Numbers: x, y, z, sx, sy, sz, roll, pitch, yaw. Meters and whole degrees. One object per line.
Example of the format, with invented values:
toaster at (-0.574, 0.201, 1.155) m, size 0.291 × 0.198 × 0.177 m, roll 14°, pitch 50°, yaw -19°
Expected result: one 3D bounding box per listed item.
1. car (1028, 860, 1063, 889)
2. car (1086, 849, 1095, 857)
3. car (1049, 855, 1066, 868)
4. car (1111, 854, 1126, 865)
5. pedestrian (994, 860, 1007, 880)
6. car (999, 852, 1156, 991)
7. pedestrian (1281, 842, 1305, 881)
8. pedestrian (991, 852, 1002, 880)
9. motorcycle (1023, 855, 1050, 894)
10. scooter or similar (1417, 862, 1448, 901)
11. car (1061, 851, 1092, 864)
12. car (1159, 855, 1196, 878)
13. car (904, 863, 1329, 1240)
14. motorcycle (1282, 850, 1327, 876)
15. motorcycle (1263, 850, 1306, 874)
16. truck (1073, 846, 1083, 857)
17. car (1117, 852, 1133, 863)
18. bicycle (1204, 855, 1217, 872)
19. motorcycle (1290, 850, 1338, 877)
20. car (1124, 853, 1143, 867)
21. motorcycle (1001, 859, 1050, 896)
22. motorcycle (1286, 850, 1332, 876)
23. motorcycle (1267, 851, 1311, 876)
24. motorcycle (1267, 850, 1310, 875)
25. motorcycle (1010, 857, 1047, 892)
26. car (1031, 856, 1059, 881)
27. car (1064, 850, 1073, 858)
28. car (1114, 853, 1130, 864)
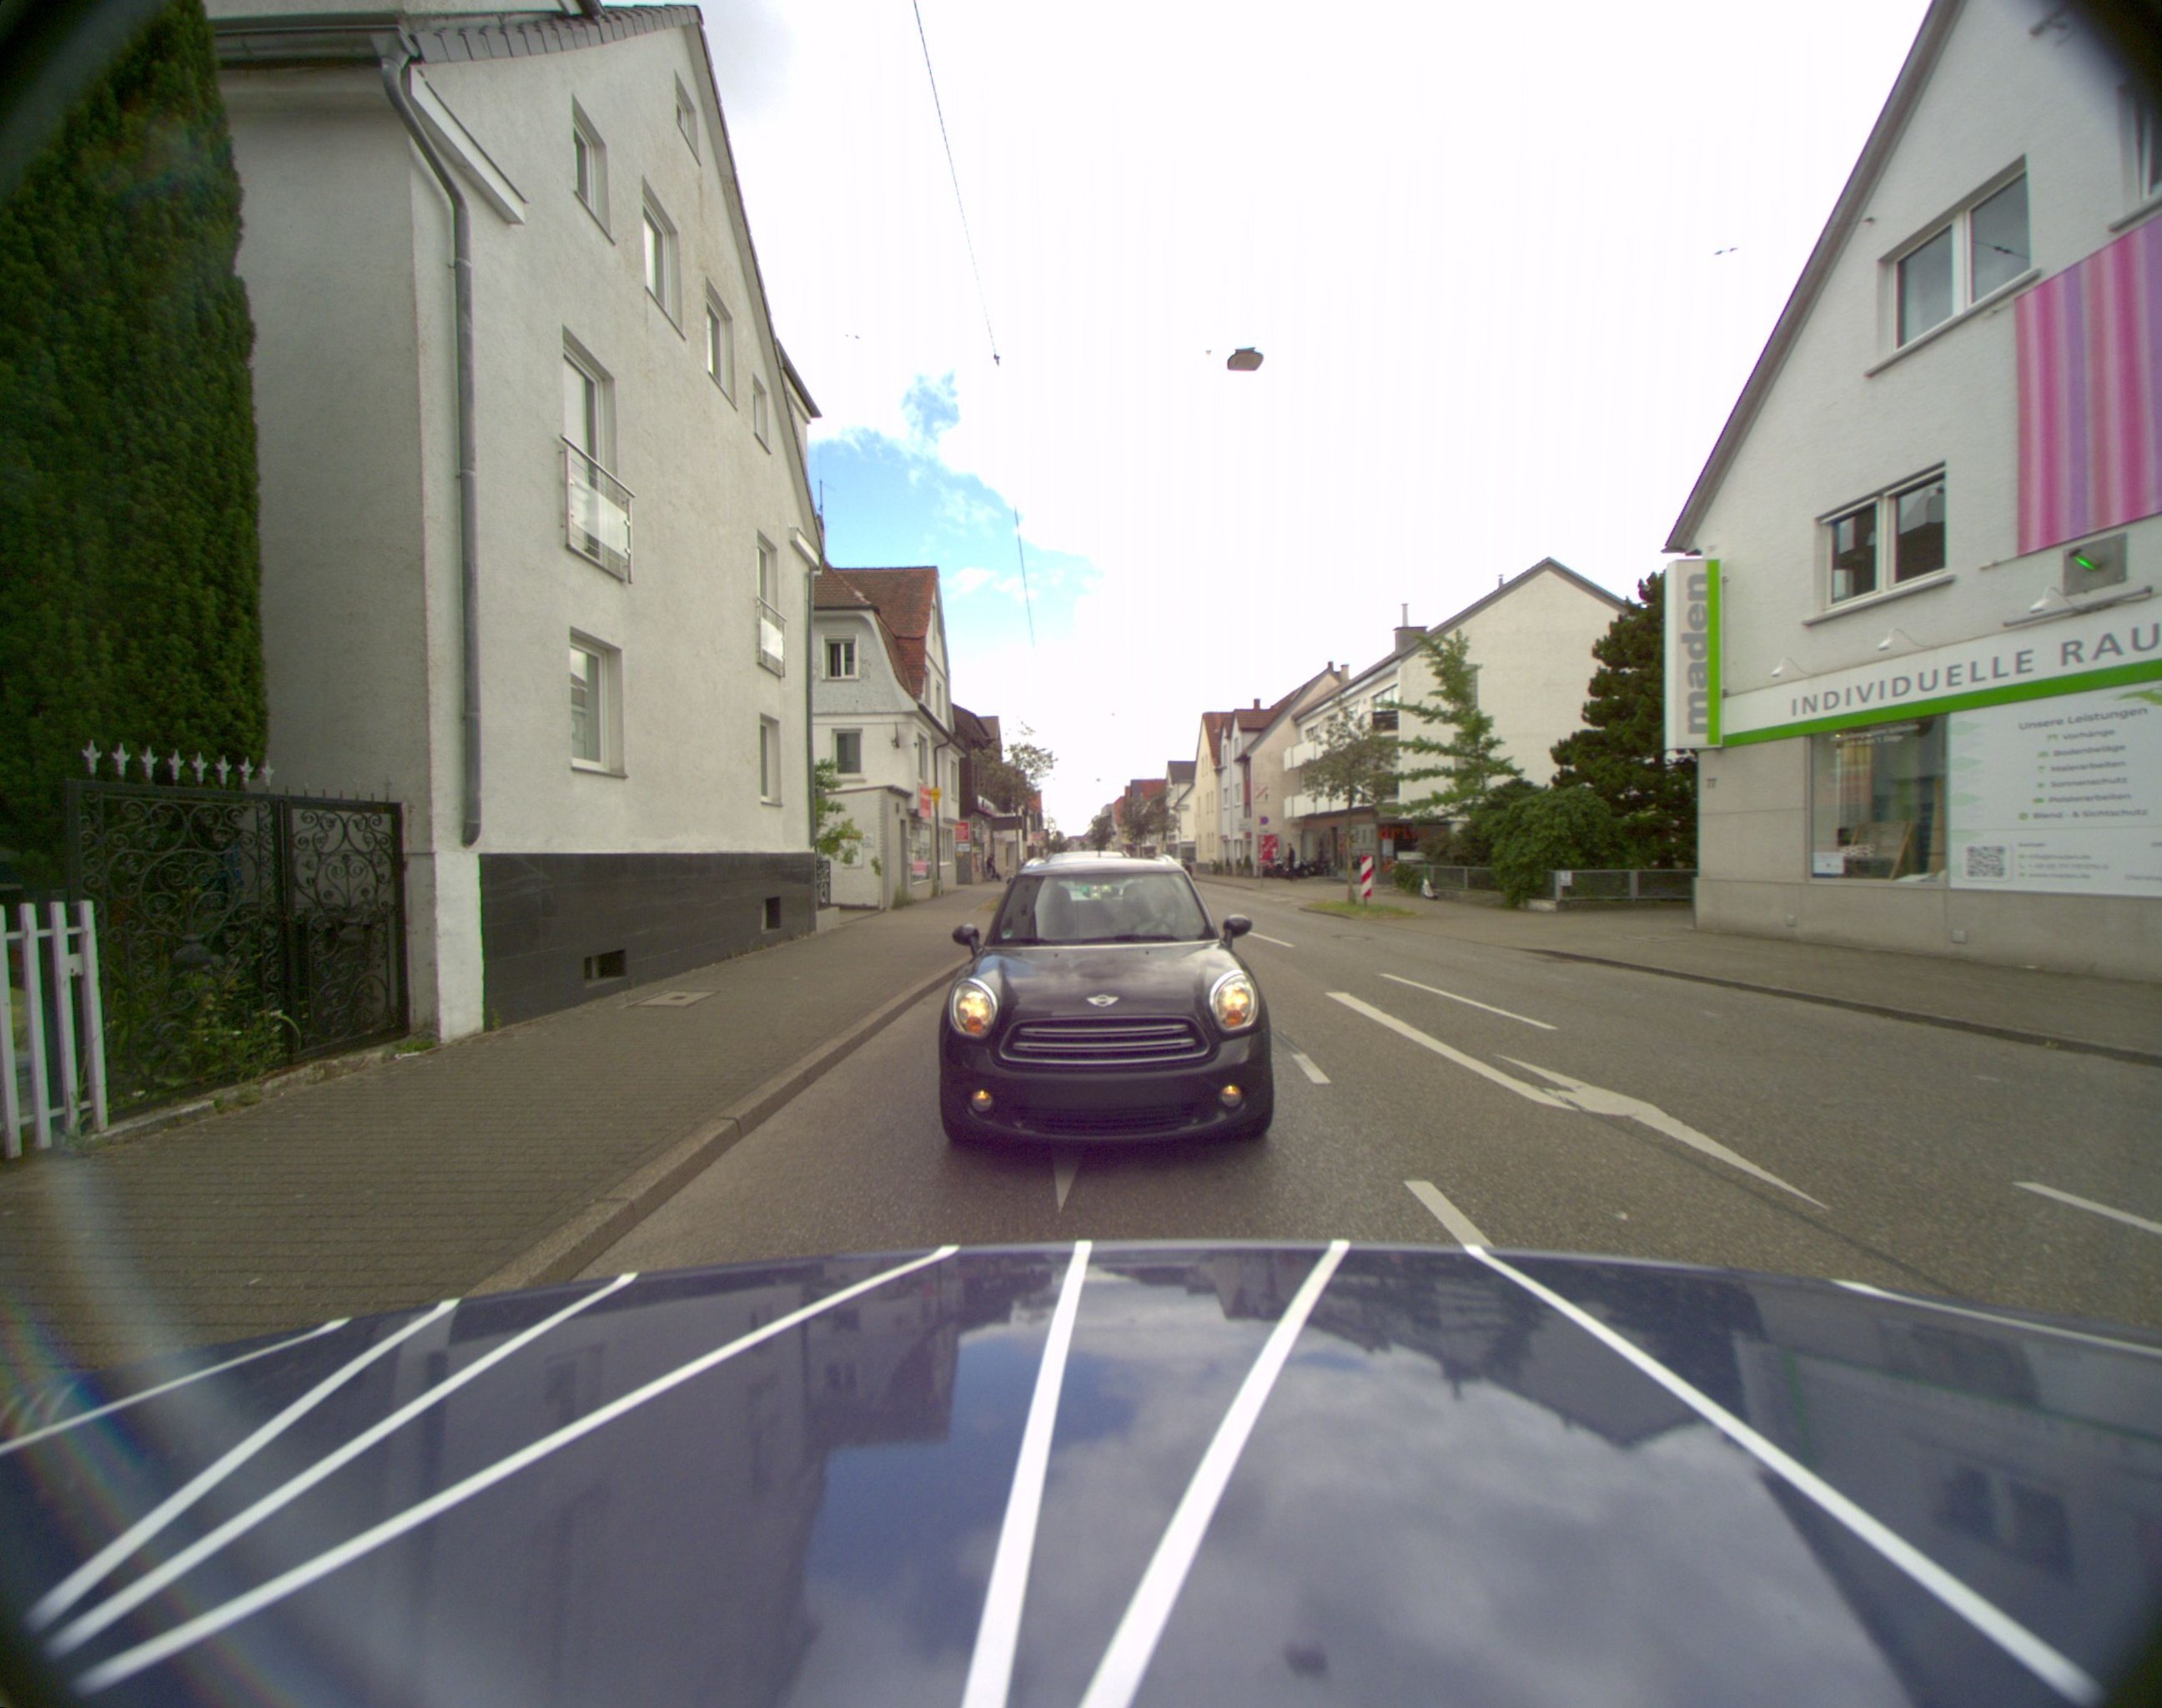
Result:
car at (-1.975, 1.128, 43.009) m, size 1.830 × 1.400 × 4.564 m, roll -2°, pitch 0°, yaw -1°
car at (2.303, -0.212, 188.019) m, size 1.855 × 1.932 × 4.489 m, roll 1°, pitch 0°, yaw -2°
car at (-2.614, 0.844, 85.507) m, size 1.794 × 1.356 × 3.948 m, roll 1°, pitch 0°, yaw 0°
car at (5.271, 0.798, 107.783) m, size 1.716 × 1.389 × 3.899 m, roll -2°, pitch 0°, yaw -2°
pedestrian at (-4.948, 0.999, 46.815) m, size 0.742 × 1.204 × 0.644 m, roll 0°, pitch 1°, yaw -1°
car at (-0.025, 0.811, 11.576) m, size 1.855 × 1.615 × 4.736 m, roll -2°, pitch 0°, yaw 0°
pedestrian at (10.427, 0.365, 37.329) m, size 0.753 × 1.838 × 1.019 m, roll -5°, pitch 1°, yaw 0°
pedestrian at (-5.099, 0.717, 46.005) m, size 0.644 × 1.730 × 0.742 m, roll 0°, pitch 1°, yaw -6°
motorcycle at (-1.844, 0.815, 31.804) m, size 0.672 × 1.516 × 2.599 m, roll -2°, pitch 1°, yaw 6°
scooter or similar at (10.364, 0.795, 22.422) m, size 0.340 × 1.105 × 1.180 m, roll -2°, pitch 1°, yaw 0°
car at (-0.696, 0.584, 112.661) m, size 3.990 × 1.772 × 2.003 m, roll -2°, pitch 1°, yaw 26°
car at (6.443, 0.805, 51.119) m, size 1.792 × 1.409 × 4.340 m, roll 0°, pitch 0°, yaw -1°
car at (0.087, 0.905, 5.754) m, size 1.855 × 1.527 × 4.735 m, roll -2°, pitch 0°, yaw -2°
motorcycle at (12.246, 0.474, 41.636) m, size 2.231 × 1.258 × 0.613 m, roll -4°, pitch 1°, yaw -2°
motorcycle at (11.763, 0.475, 43.976) m, size 2.231 × 1.258 × 0.613 m, roll -4°, pitch 1°, yaw -2°
truck at (-0.880, -0.614, 219.268) m, size 2.800 × 3.020 × 8.250 m, roll -2°, pitch 0°, yaw 0°
car at (5.624, 0.412, 97.146) m, size 1.716 × 1.389 × 3.899 m, roll -2°, pitch 0°, yaw -2°
bicycle at (9.416, 0.691, 55.462) m, size 0.515 × 1.189 × 2.023 m, roll -2°, pitch 1°, yaw -1°
motorcycle at (12.260, 0.499, 39.999) m, size 2.231 × 1.258 × 0.613 m, roll -4°, pitch 1°, yaw -2°
car at (5.986, 0.660, 86.457) m, size 1.716 × 1.389 × 3.899 m, roll -2°, pitch 0°, yaw -2°
motorcycle at (-2.165, 0.886, 29.350) m, size 0.777 × 1.373 × 2.237 m, roll -2°, pitch 1°, yaw -37°
motorcycle at (12.257, 0.498, 40.825) m, size 2.231 × 1.258 × 0.613 m, roll -4°, pitch 1°, yaw -2°
motorcycle at (11.610, 0.530, 42.478) m, size 2.231 × 1.258 × 0.699 m, roll -4°, pitch 1°, yaw -2°
motorcycle at (11.791, 0.480, 43.249) m, size 2.231 × 1.258 × 0.613 m, roll -4°, pitch 1°, yaw -2°
motorcycle at (-2.253, 0.858, 32.917) m, size 0.648 × 1.432 × 2.472 m, roll -1°, pitch 1°, yaw 19°
car at (-2.248, 0.897, 48.629) m, size 1.645 × 1.433 × 3.901 m, roll -2°, pitch 0°, yaw -1°
car at (-3.072, -0.028, 185.992) m, size 2.059 × 2.002 × 4.186 m, roll -2°, pitch 0°, yaw -1°
car at (5.477, 0.572, 102.136) m, size 1.716 × 1.389 × 3.899 m, roll -2°, pitch 0°, yaw -2°
